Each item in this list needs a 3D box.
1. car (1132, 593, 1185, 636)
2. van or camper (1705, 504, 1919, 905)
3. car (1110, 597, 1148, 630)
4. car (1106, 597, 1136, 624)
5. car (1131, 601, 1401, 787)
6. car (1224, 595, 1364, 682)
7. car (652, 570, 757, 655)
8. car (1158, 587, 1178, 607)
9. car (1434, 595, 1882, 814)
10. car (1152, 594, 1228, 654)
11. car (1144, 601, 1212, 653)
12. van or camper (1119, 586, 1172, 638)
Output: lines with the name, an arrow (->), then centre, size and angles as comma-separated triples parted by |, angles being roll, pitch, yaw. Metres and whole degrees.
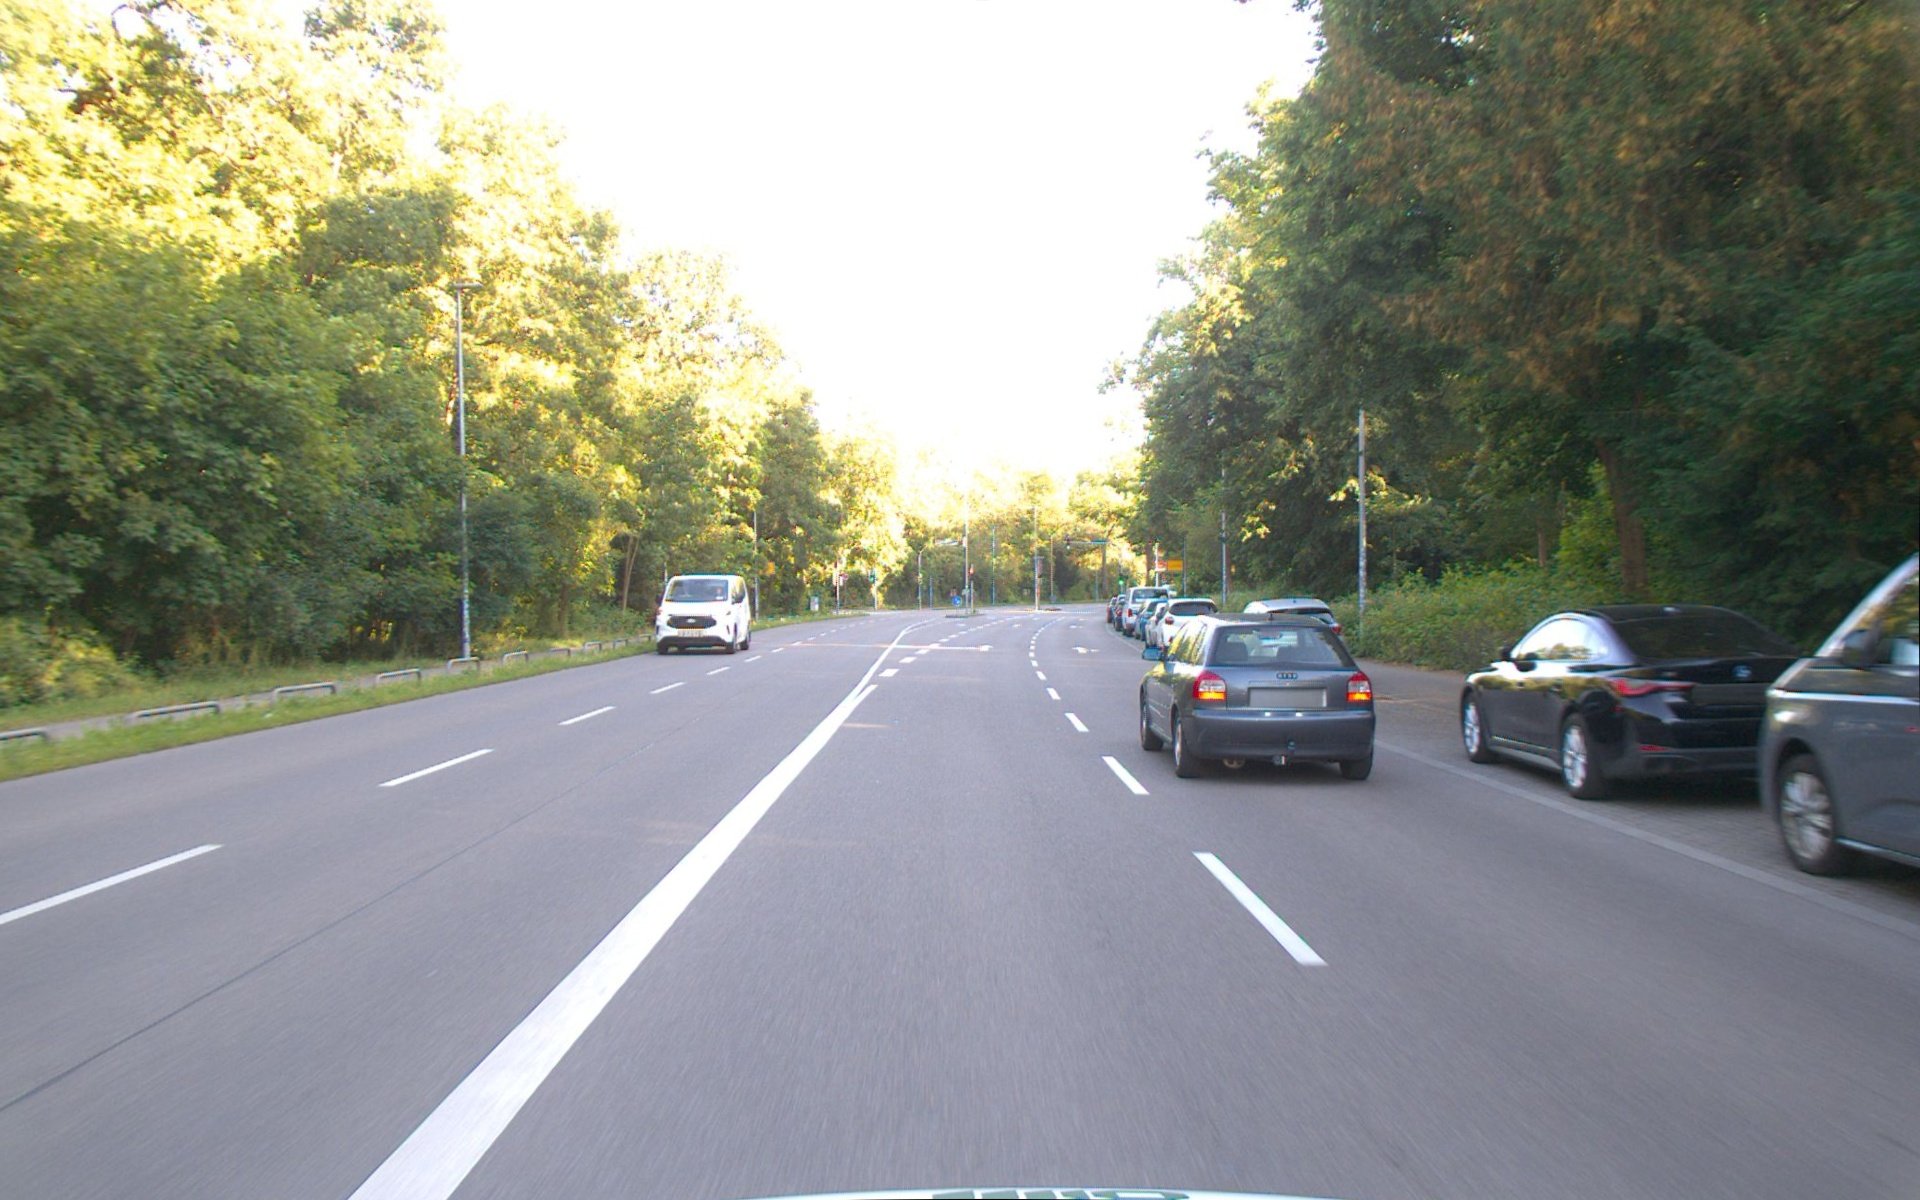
car -> 7.330, 0.518, 61.274 | 1.613, 1.549, 3.867 | 0, 0, 2
van or camper -> 5.655, 0.501, 7.925 | 1.854, 1.982, 5.134 | -1, 0, 0
car -> 7.851, 0.616, 76.995 | 1.615, 1.467, 4.115 | 0, 0, 4
car -> 9.596, 0.612, 98.544 | 1.691, 1.487, 4.169 | -2, 0, 5
car -> 2.683, 0.761, 15.391 | 1.692, 1.467, 4.089 | 0, 0, -1
car -> 5.981, 0.644, 30.139 | 1.692, 1.467, 4.667 | 0, 0, 1
car -> -6.552, 0.328, 42.922 | 1.953, 2.027, 4.996 | 2, -1, -1
car -> 25.234, -0.409, 200.226 | 2.258, 2.376, 4.563 | 0, 0, 9
car -> 5.691, 0.739, 14.276 | 1.800, 1.466, 4.958 | -2, 0, 1
car -> 6.210, 0.618, 44.931 | 1.691, 1.549, 4.091 | 0, 0, 3
car -> 6.450, 0.781, 49.270 | 1.691, 1.434, 4.091 | -1, 0, 3
van or camper -> 7.523, 0.453, 67.413 | 1.794, 2.005, 5.343 | 0, 0, 2
